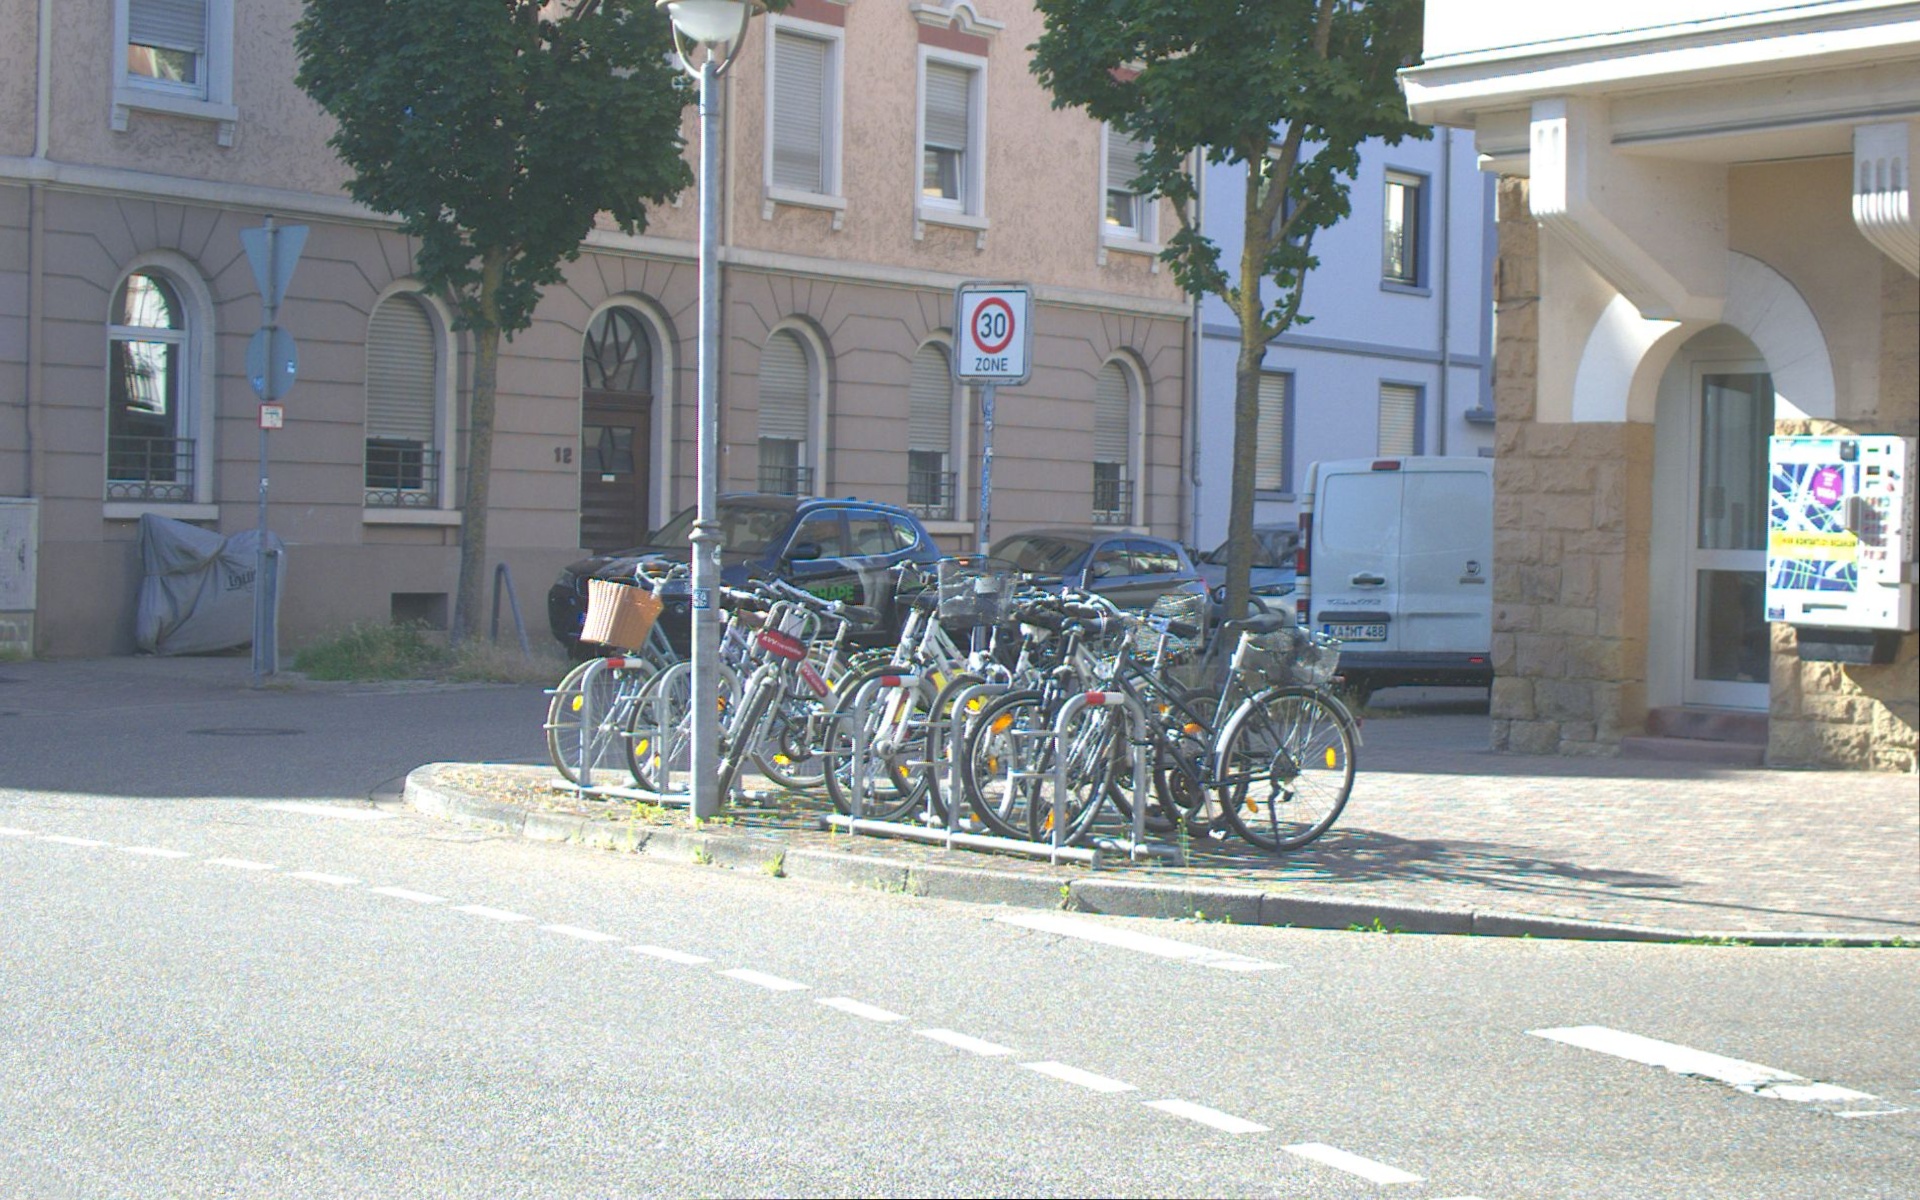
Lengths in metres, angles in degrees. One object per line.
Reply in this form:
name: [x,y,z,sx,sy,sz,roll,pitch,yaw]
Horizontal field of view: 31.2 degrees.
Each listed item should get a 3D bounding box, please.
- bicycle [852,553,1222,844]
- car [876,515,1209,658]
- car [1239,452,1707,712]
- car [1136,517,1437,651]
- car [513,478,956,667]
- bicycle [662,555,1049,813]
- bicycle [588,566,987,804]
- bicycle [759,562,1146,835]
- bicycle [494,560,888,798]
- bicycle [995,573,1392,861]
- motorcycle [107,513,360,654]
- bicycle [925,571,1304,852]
bicycle: [0.352,0.401,14.827,1.692,1.187,0.451,0,1,-39]
car: [0.919,-0.154,36.501,1.700,1.407,3.655,2,1,37]
car: [4.249,-0.167,27.833,2.138,1.902,4.553,2,1,31]
car: [3.943,-0.197,40.968,1.700,1.481,3.994,2,1,37]
car: [-2.045,-0.269,32.421,1.906,1.636,4.339,2,1,33]
bicycle: [-0.478,0.373,16.012,1.691,1.141,0.638,0,1,-31]
bicycle: [-0.818,0.392,16.533,1.873,1.086,0.536,0,1,-31]
bicycle: [-0.016,0.411,15.247,1.692,1.141,0.616,0,1,-39]
bicycle: [-1.324,0.379,17.113,1.862,1.126,0.699,1,0,-37]
bicycle: [0.978,0.455,14.157,1.713,1.119,0.483,0,1,-37]
motorcycle: [-6.648,-0.167,31.540,0.942,1.216,2.149,4,3,37]
bicycle: [0.672,0.443,14.505,1.692,1.119,0.483,0,1,-39]
